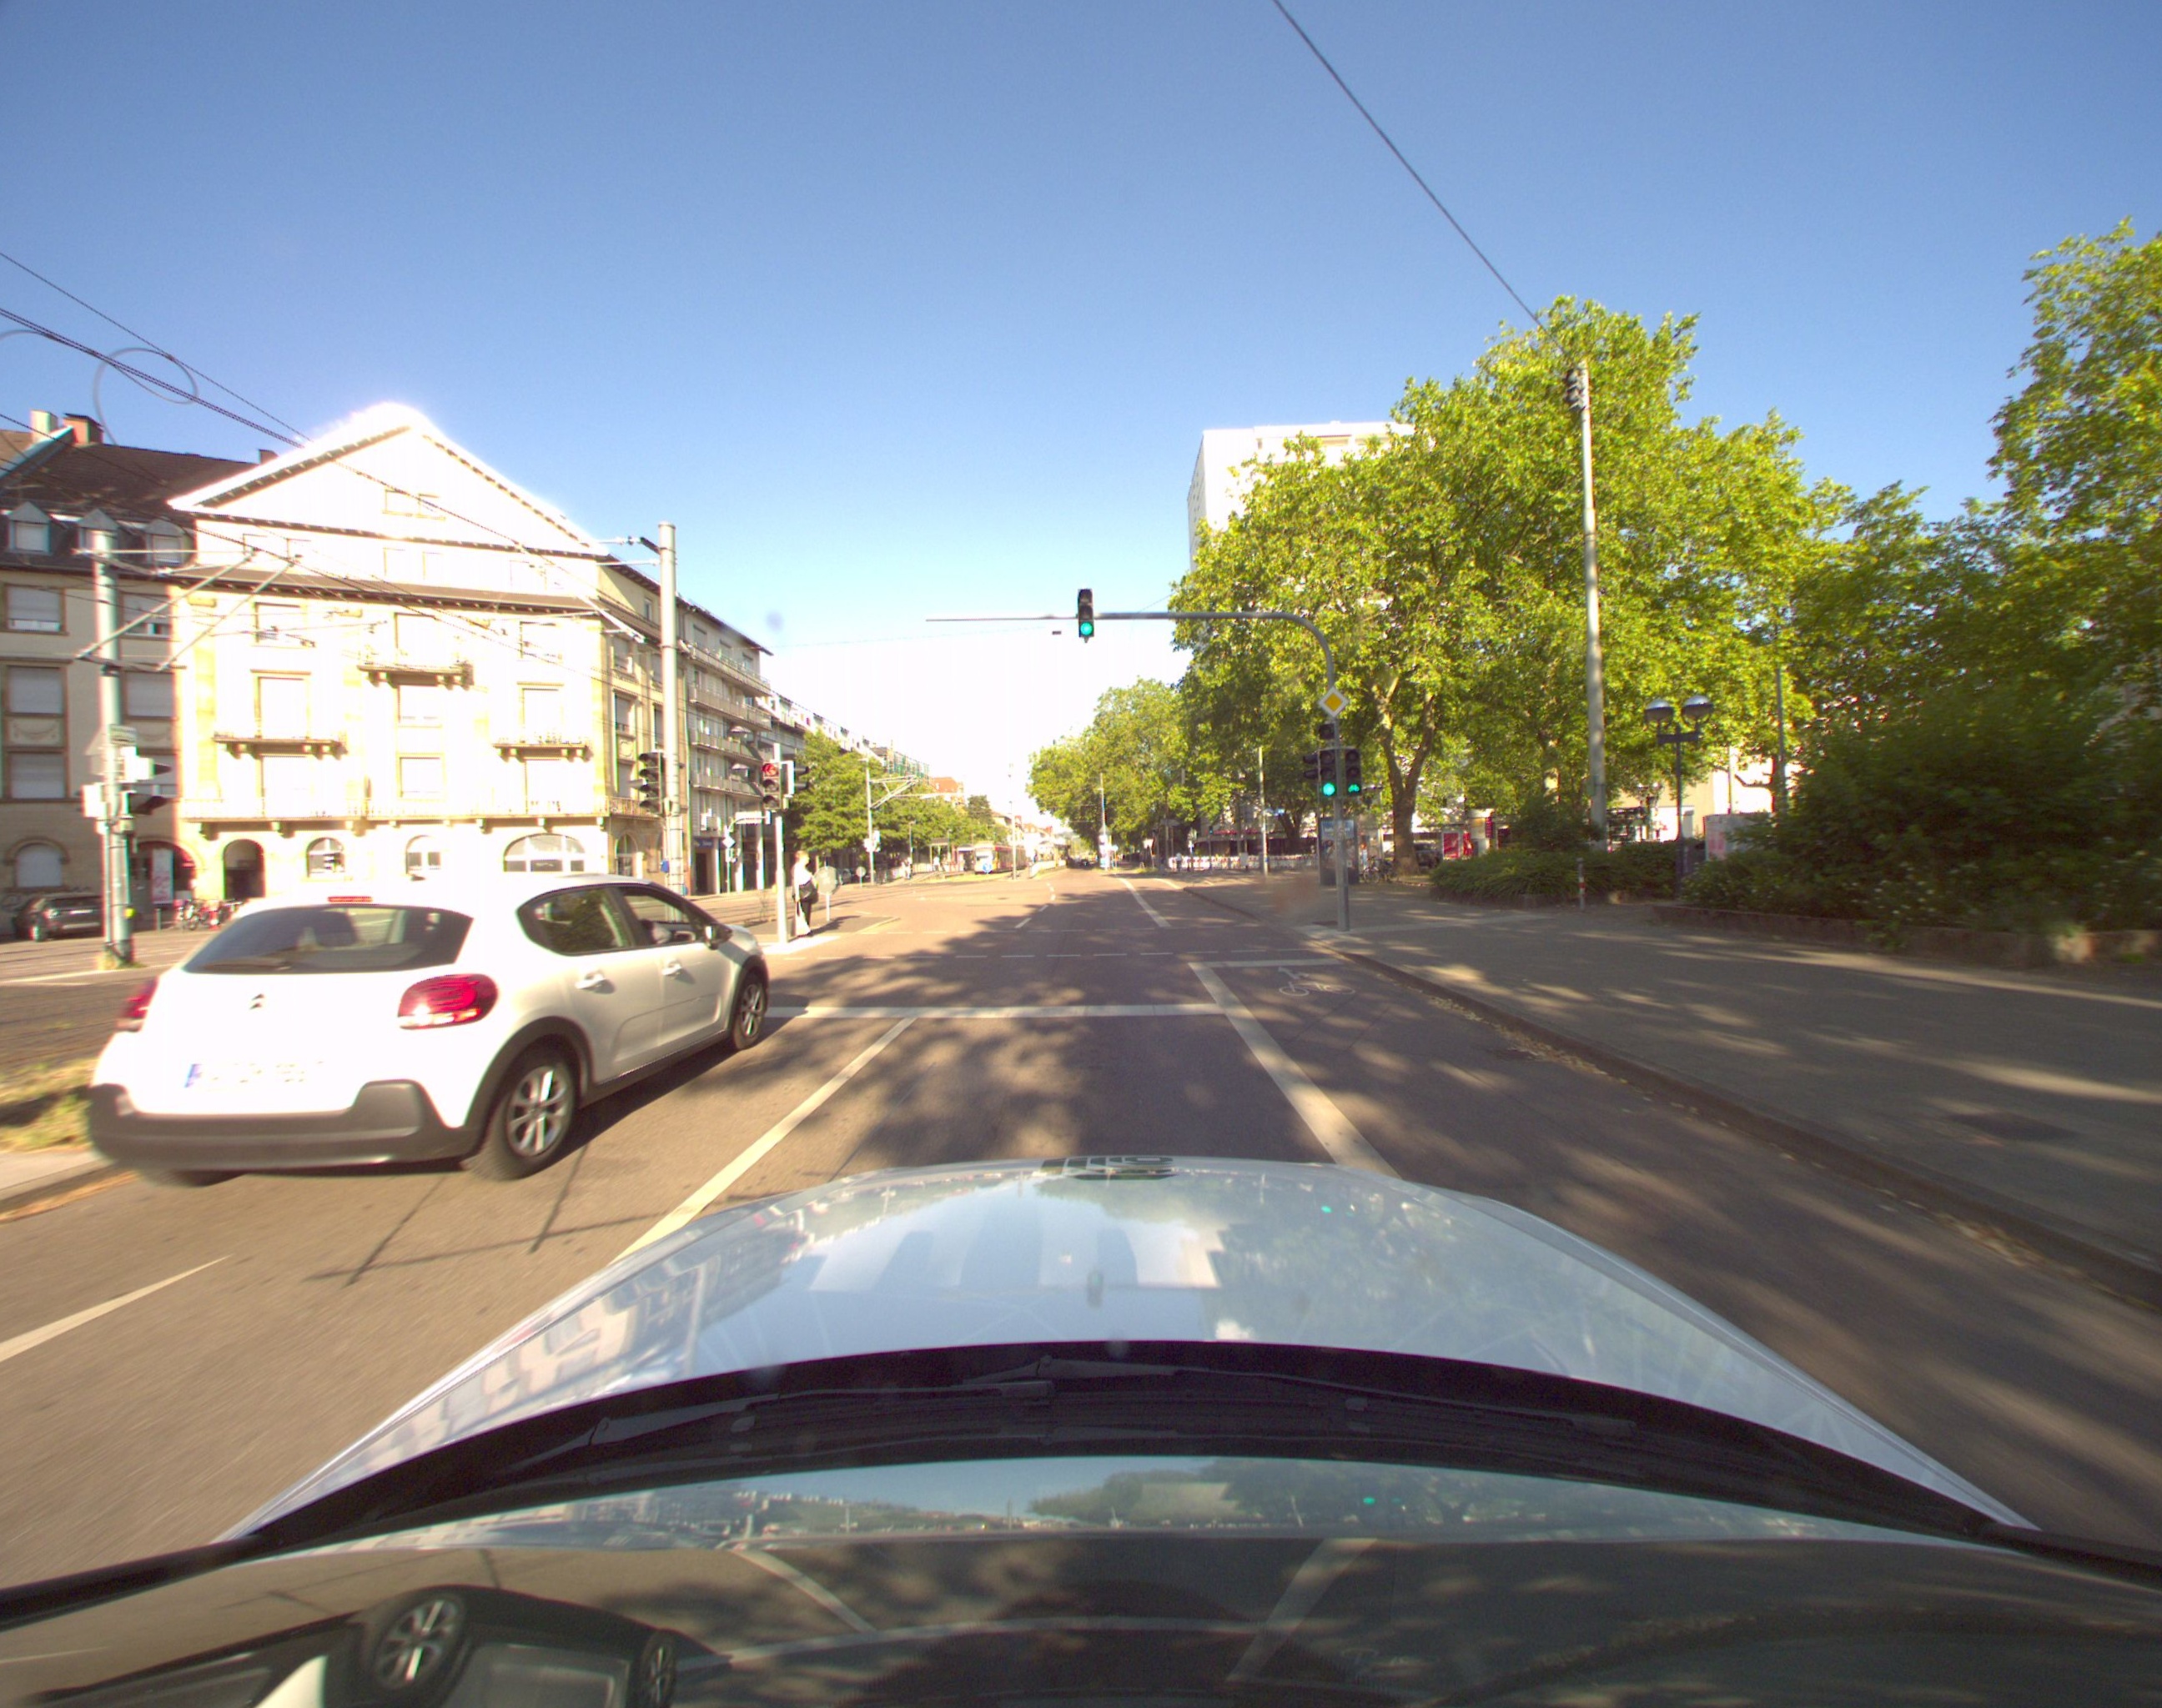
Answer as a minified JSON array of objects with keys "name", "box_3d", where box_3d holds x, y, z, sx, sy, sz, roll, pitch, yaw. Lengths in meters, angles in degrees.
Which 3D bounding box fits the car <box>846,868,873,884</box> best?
[{"name":"car","box_3d":[-23.981,2.353,88.184,1.800,1.635,3.785,0,-1,1]}]

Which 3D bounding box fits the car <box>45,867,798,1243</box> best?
[{"name":"car","box_3d":[-3.404,0.855,5.349,1.627,1.499,4.000,0,-1,1]}]

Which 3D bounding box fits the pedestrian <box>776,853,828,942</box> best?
[{"name":"pedestrian","box_3d":[-5.204,0.793,15.237,0.675,1.621,0.925,0,-1,-1]}]

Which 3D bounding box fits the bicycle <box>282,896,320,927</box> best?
[{"name":"bicycle","box_3d":[-33.687,2.472,35.184,0.530,1.191,2.109,0,-1,-25]}]

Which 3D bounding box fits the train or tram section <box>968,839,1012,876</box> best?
[{"name":"train or tram section","box_3d":[-9.946,0.390,90.885,2.859,3.675,14.563,-2,-1,1]}]

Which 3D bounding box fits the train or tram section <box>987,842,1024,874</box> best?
[{"name":"train or tram section","box_3d":[-9.624,0.523,105.449,2.859,3.685,14.563,-2,-1,1]}]

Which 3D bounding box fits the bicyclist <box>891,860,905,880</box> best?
[{"name":"bicyclist","box_3d":[-14.090,1.217,62.605,0.529,1.370,1.023,-1,10,12]}]

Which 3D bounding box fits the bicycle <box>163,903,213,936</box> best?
[{"name":"bicycle","box_3d":[-36.156,2.621,33.001,0.529,1.191,2.110,0,-1,-24]}]

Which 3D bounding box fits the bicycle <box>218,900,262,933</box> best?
[{"name":"bicycle","box_3d":[-34.626,2.558,33.562,0.555,1.191,2.109,0,-1,-25]}]

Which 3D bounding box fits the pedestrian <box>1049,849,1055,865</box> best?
[{"name":"pedestrian","box_3d":[-3.376,0.321,95.039,0.667,1.902,0.824,0,-1,0]}]

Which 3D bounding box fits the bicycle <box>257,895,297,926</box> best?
[{"name":"bicycle","box_3d":[-34.210,2.404,34.687,0.530,1.191,2.109,0,-1,-25]}]

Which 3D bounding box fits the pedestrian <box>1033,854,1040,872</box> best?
[{"name":"pedestrian","box_3d":[-4.089,0.793,74.651,0.627,1.609,0.982,0,-1,-1]}]

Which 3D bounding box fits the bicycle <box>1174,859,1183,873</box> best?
[{"name":"bicycle","box_3d":[7.302,0.881,61.130,0.600,1.026,1.770,-2,-1,8]}]

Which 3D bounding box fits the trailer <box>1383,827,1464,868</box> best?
[{"name":"trailer","box_3d":[21.128,-0.424,50.224,4.518,2.373,1.900,-2,0,-21]}]

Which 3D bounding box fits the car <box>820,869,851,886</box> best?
[{"name":"car","box_3d":[-24.031,2.331,79.910,1.800,1.578,3.785,0,-1,1]}]

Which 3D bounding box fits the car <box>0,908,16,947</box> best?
[{"name":"car","box_3d":[-41.665,2.779,30.090,3.950,1.355,2.013,0,4,26]}]

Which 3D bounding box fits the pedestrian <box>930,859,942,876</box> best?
[{"name":"pedestrian","box_3d":[-13.525,1.241,76.051,0.897,1.581,0.957,0,-1,-2]}]

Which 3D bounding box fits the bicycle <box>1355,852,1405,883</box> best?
[{"name":"bicycle","box_3d":[10.706,0.490,29.147,1.828,1.053,0.530,-1,0,-26]}]

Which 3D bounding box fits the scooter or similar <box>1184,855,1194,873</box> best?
[{"name":"scooter or similar","box_3d":[7.880,0.729,59.450,0.557,1.257,1.293,-3,-1,9]}]

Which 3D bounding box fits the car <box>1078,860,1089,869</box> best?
[{"name":"car","box_3d":[0.511,1.914,151.525,1.986,1.684,4.000,0,-1,1]}]

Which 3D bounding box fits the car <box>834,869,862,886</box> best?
[{"name":"car","box_3d":[-24.002,2.399,84.088,1.800,1.677,3.785,0,-1,1]}]

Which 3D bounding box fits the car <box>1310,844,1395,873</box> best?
[{"name":"car","box_3d":[16.068,0.260,48.228,4.582,1.640,1.922,0,-1,-21]}]

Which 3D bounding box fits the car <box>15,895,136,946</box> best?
[{"name":"car","box_3d":[-38.787,2.506,31.420,3.950,1.584,2.013,0,4,26]}]

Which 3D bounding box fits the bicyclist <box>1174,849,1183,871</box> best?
[{"name":"bicyclist","box_3d":[7.299,0.449,61.210,0.600,1.551,0.862,-2,-1,7]}]

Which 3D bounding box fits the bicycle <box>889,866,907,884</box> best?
[{"name":"bicycle","box_3d":[-14.079,1.614,62.625,0.529,1.052,1.833,-1,10,13]}]

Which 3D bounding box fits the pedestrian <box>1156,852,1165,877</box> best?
[{"name":"pedestrian","box_3d":[5.260,0.667,54.007,0.427,1.639,0.612,-1,0,-7]}]
